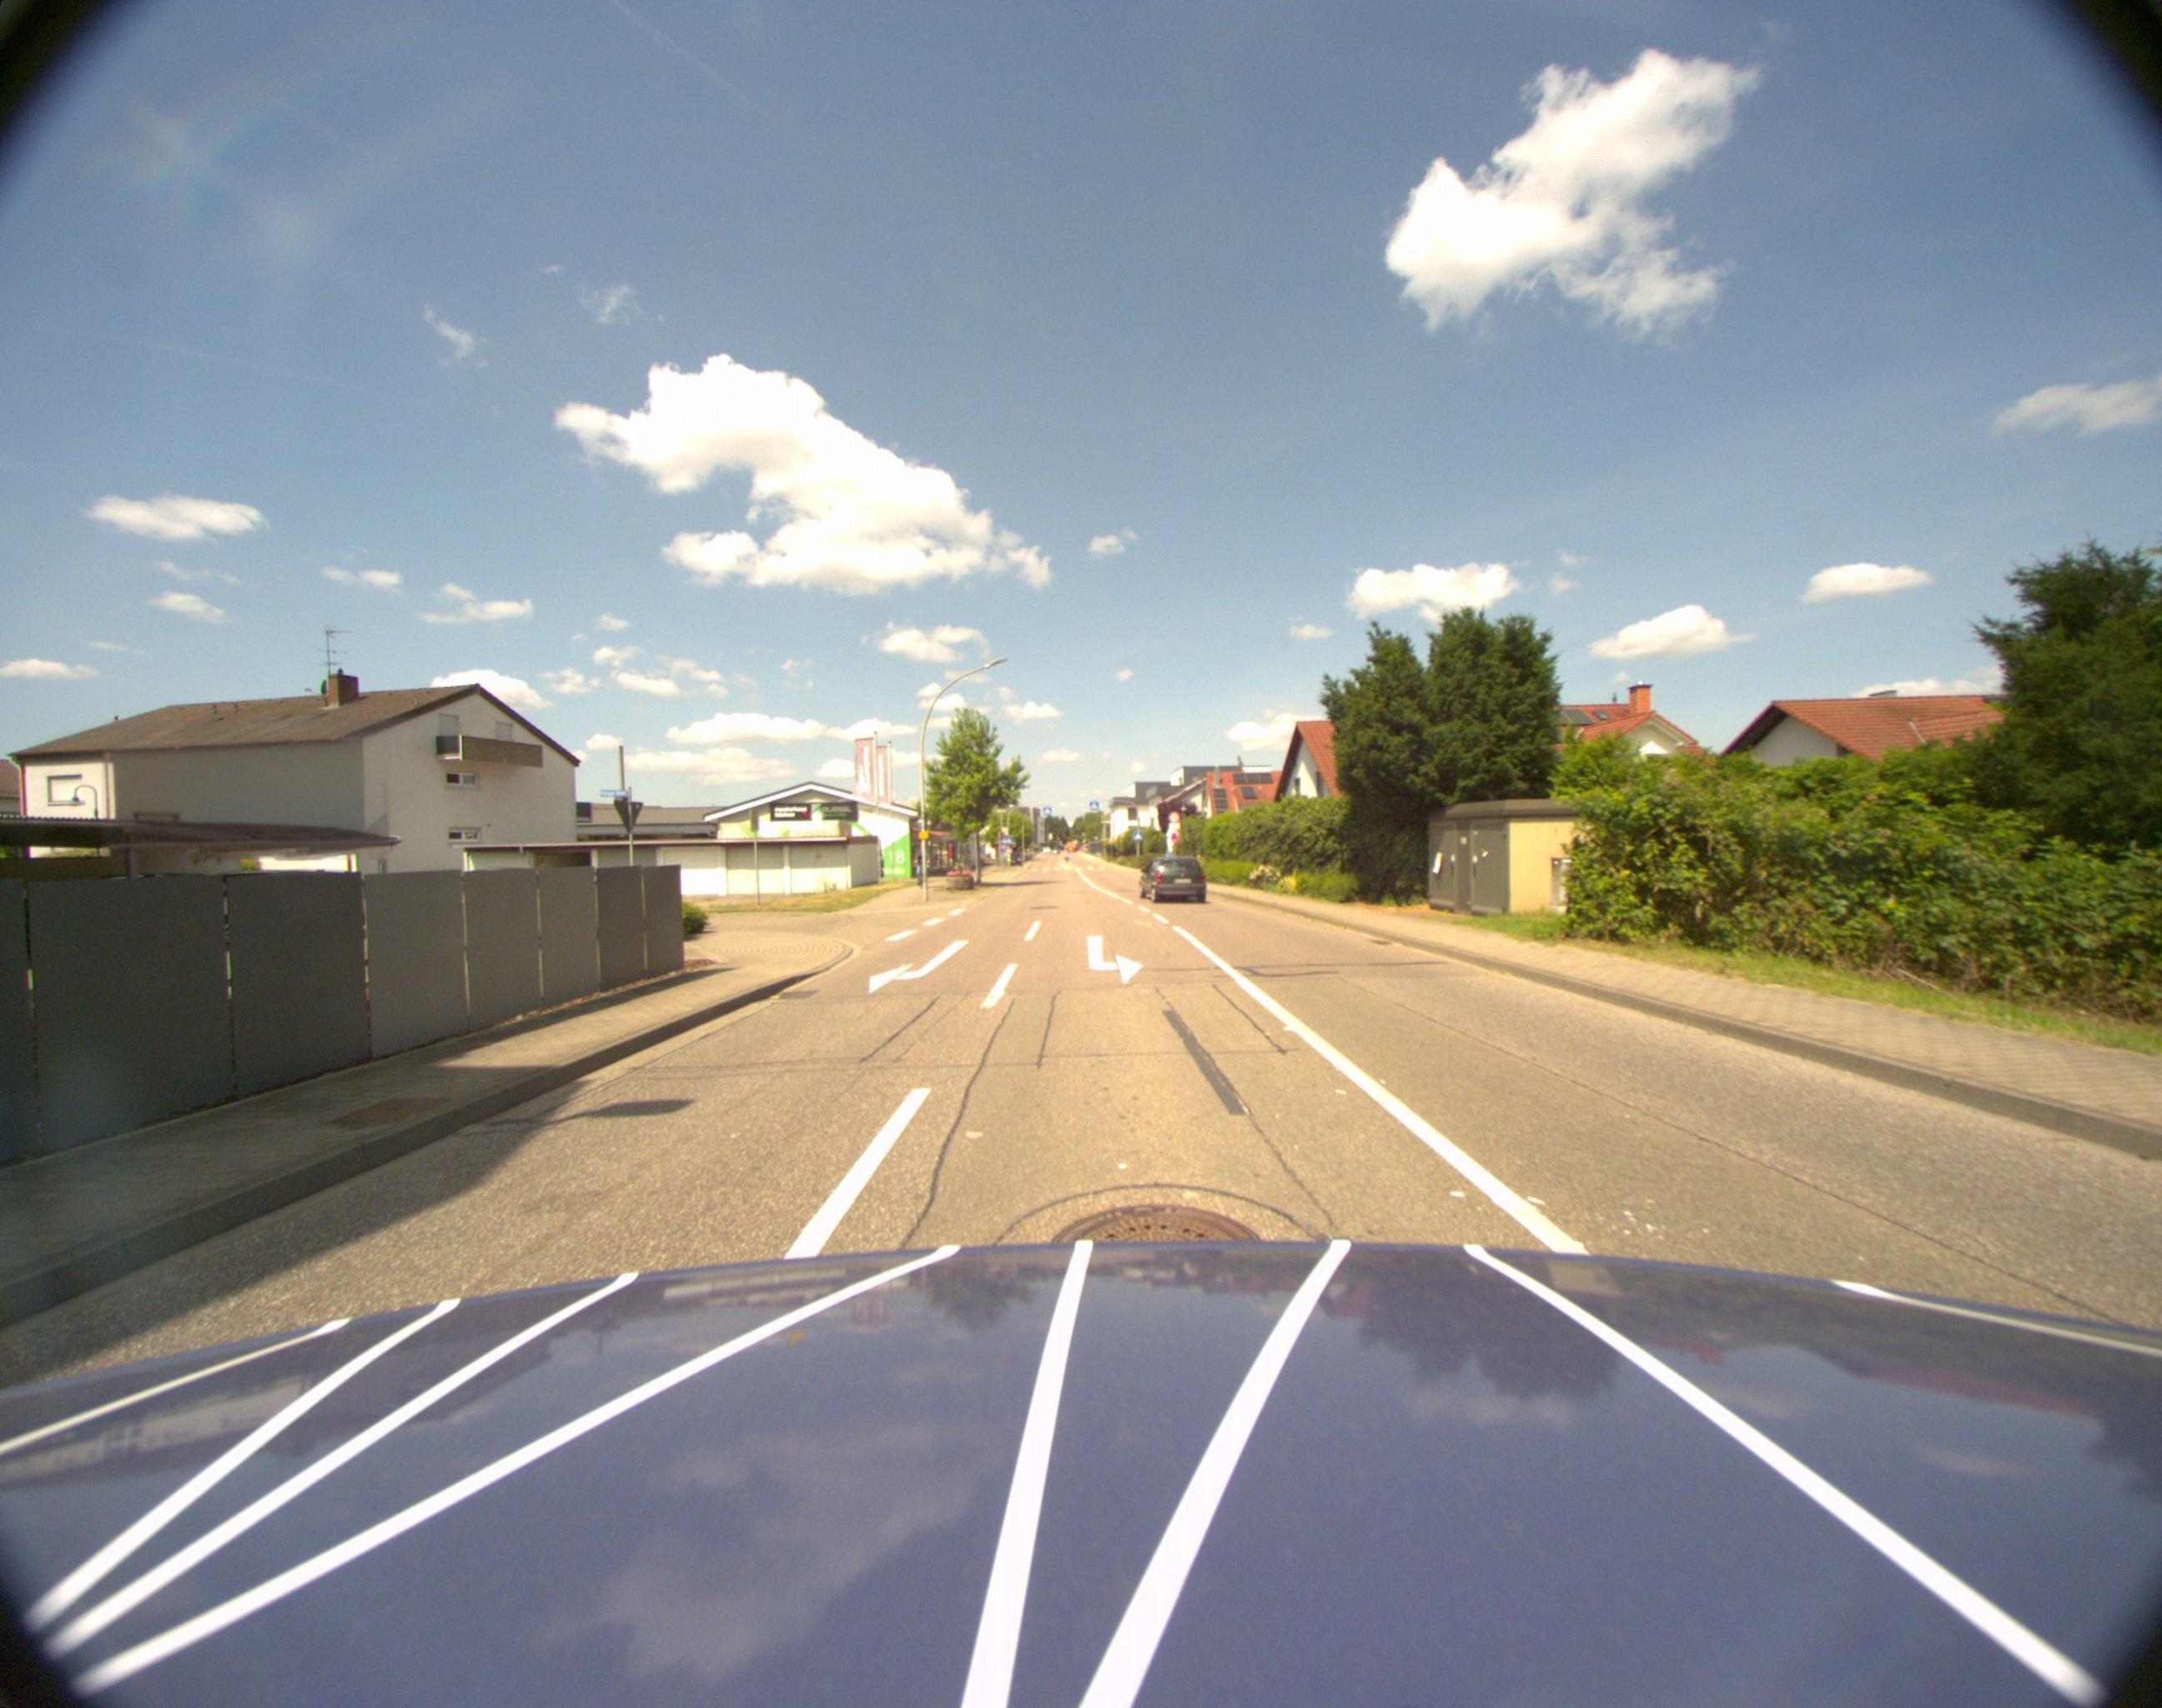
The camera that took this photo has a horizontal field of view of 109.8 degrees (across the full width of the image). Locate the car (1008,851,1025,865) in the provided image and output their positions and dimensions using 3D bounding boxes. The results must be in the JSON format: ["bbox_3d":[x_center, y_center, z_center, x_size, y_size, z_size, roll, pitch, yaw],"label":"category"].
[{"bbox_3d":[-7.274,0.409,85.843,1.729,1.484,3.758,0,1,-2],"label":"car"}]

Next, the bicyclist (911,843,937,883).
[{"bbox_3d":[-6.716,0.397,32.530,0.805,1.620,1.111,-5,1,-3],"label":"bicyclist"}]

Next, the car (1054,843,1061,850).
[{"bbox_3d":[-5.529,-1.754,179.777,1.729,1.484,3.759,0,1,-1],"label":"car"}]

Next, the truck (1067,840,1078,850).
[{"bbox_3d":[-2.473,-2.408,211.122,2.865,2.695,6.788,0,1,-2],"label":"truck"}]

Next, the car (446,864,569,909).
[{"bbox_3d":[-22.571,1.232,30.134,1.679,1.494,4.130,-2,1,0],"label":"car"}]

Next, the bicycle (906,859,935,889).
[{"bbox_3d":[-6.875,0.831,32.611,0.805,1.158,1.942,-5,0,-3],"label":"bicycle"}]

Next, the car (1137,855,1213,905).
[{"bbox_3d":[2.876,0.753,23.997,1.785,1.425,3.871,0,0,-2],"label":"car"}]

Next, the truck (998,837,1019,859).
[{"bbox_3d":[-9.690,-0.832,100.724,2.581,2.746,6.329,0,1,-8],"label":"truck"}]

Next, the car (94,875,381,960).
[{"bbox_3d":[-18.659,1.316,17.160,1.741,1.638,4.216,-1,-1,1],"label":"car"}]

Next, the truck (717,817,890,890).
[{"bbox_3d":[-14.876,-0.056,41.167,8.192,3.553,2.676,-2,2,-2],"label":"truck"}]

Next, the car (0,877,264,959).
[{"bbox_3d":[-21.213,1.330,16.958,1.741,1.577,3.854,-1,-1,1],"label":"car"}]

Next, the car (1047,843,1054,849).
[{"bbox_3d":[-7.926,-2.030,196.807,1.729,1.484,3.759,0,1,-1],"label":"car"}]

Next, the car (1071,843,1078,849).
[{"bbox_3d":[-1.678,-2.044,193.258,1.799,1.480,3.612,0,1,-2],"label":"car"}]
